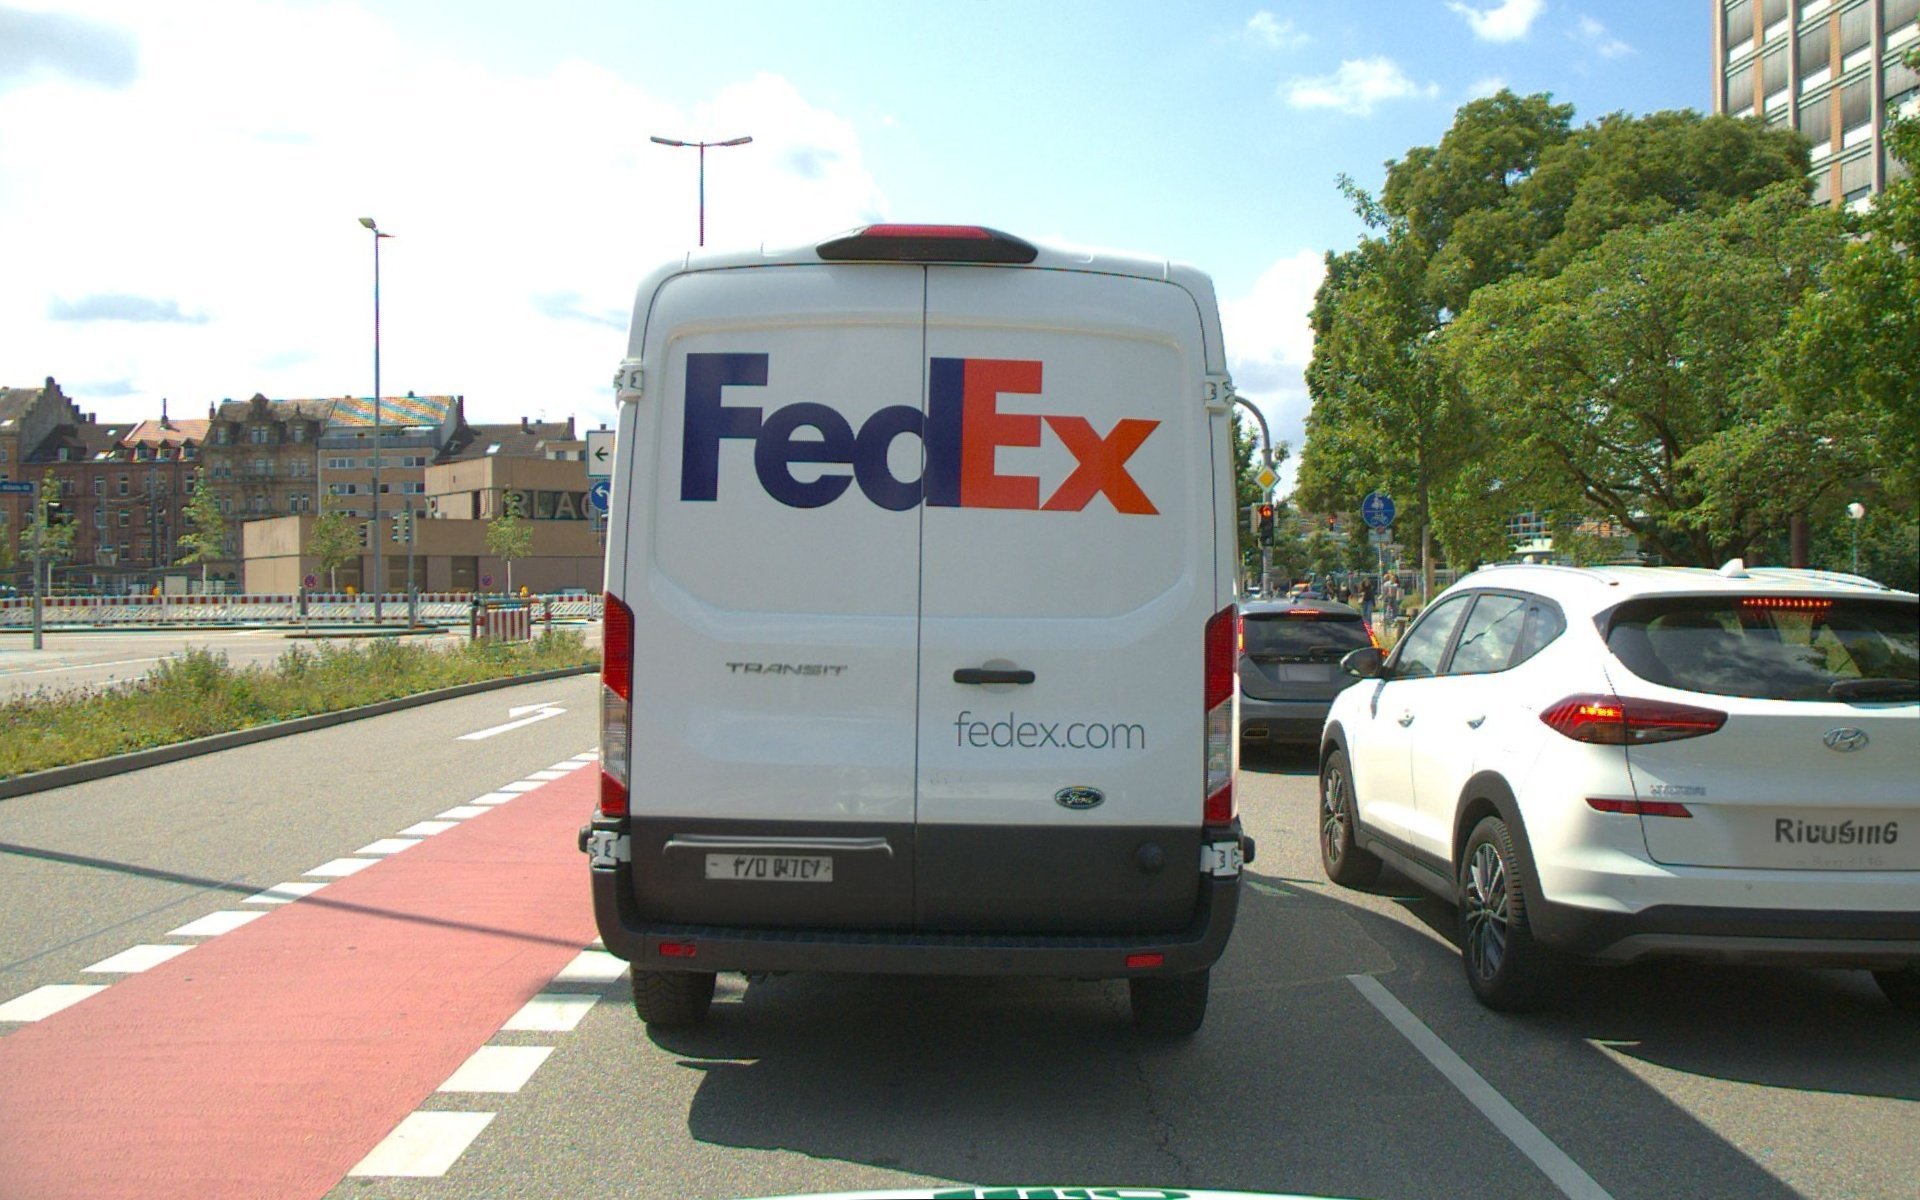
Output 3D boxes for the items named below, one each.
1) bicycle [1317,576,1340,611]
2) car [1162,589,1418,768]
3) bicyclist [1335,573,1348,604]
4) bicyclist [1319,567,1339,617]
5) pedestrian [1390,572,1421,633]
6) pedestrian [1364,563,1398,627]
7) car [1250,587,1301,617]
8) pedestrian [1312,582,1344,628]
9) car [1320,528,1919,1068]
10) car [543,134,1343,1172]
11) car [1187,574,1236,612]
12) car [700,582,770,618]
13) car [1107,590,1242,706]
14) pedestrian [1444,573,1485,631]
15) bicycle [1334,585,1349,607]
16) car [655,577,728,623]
[{"bbox_3d":[14.001,-0.256,62.844,0.590,1.312,2.071,0,1,20],"label":"bicycle"},{"bbox_3d":[3.020,0.649,15.893,1.760,1.486,3.839,0,1,1],"label":"car"},{"bbox_3d":[18.529,-0.541,80.302,0.538,1.500,0.972,0,0,8],"label":"bicyclist"},{"bbox_3d":[14.034,-0.323,62.939,0.579,1.877,1.123,0,1,20],"label":"bicyclist"},{"bbox_3d":[15.035,0.072,55.870,0.827,2.049,0.741,0,0,-1],"label":"pedestrian"},{"bbox_3d":[14.086,-0.173,55.342,0.834,2.094,0.735,0,0,-25],"label":"pedestrian"},{"bbox_3d":[19.858,0.140,103.963,1.955,1.825,4.366,-1,0,28],"label":"car"},{"bbox_3d":[11.364,0.154,51.084,0.827,1.413,0.741,0,0,-1],"label":"pedestrian"},{"bbox_3d":[2.863,0.608,7.262,1.760,1.717,4.001,0,1,1],"label":"car"},{"bbox_3d":[-0.168,0.131,7.211,2.098,2.699,5.701,0,0,-3],"label":"car"},{"bbox_3d":[13.969,-0.376,91.664,2.048,2.049,4.646,-1,0,17],"label":"car"},{"bbox_3d":[-10.345,0.021,76.301,1.860,1.613,4.003,0,0,13],"label":"car"},{"bbox_3d":[2.869,0.599,22.660,1.454,1.453,3.433,0,1,1],"label":"car"},{"bbox_3d":[13.599,0.048,44.614,0.827,1.565,0.835,0,0,-1],"label":"pedestrian"},{"bbox_3d":[18.520,-0.186,80.232,0.534,1.048,1.928,0,1,8],"label":"bicycle"},{"bbox_3d":[-12.484,0.004,77.153,1.951,2.049,4.003,0,0,13],"label":"car"}]
